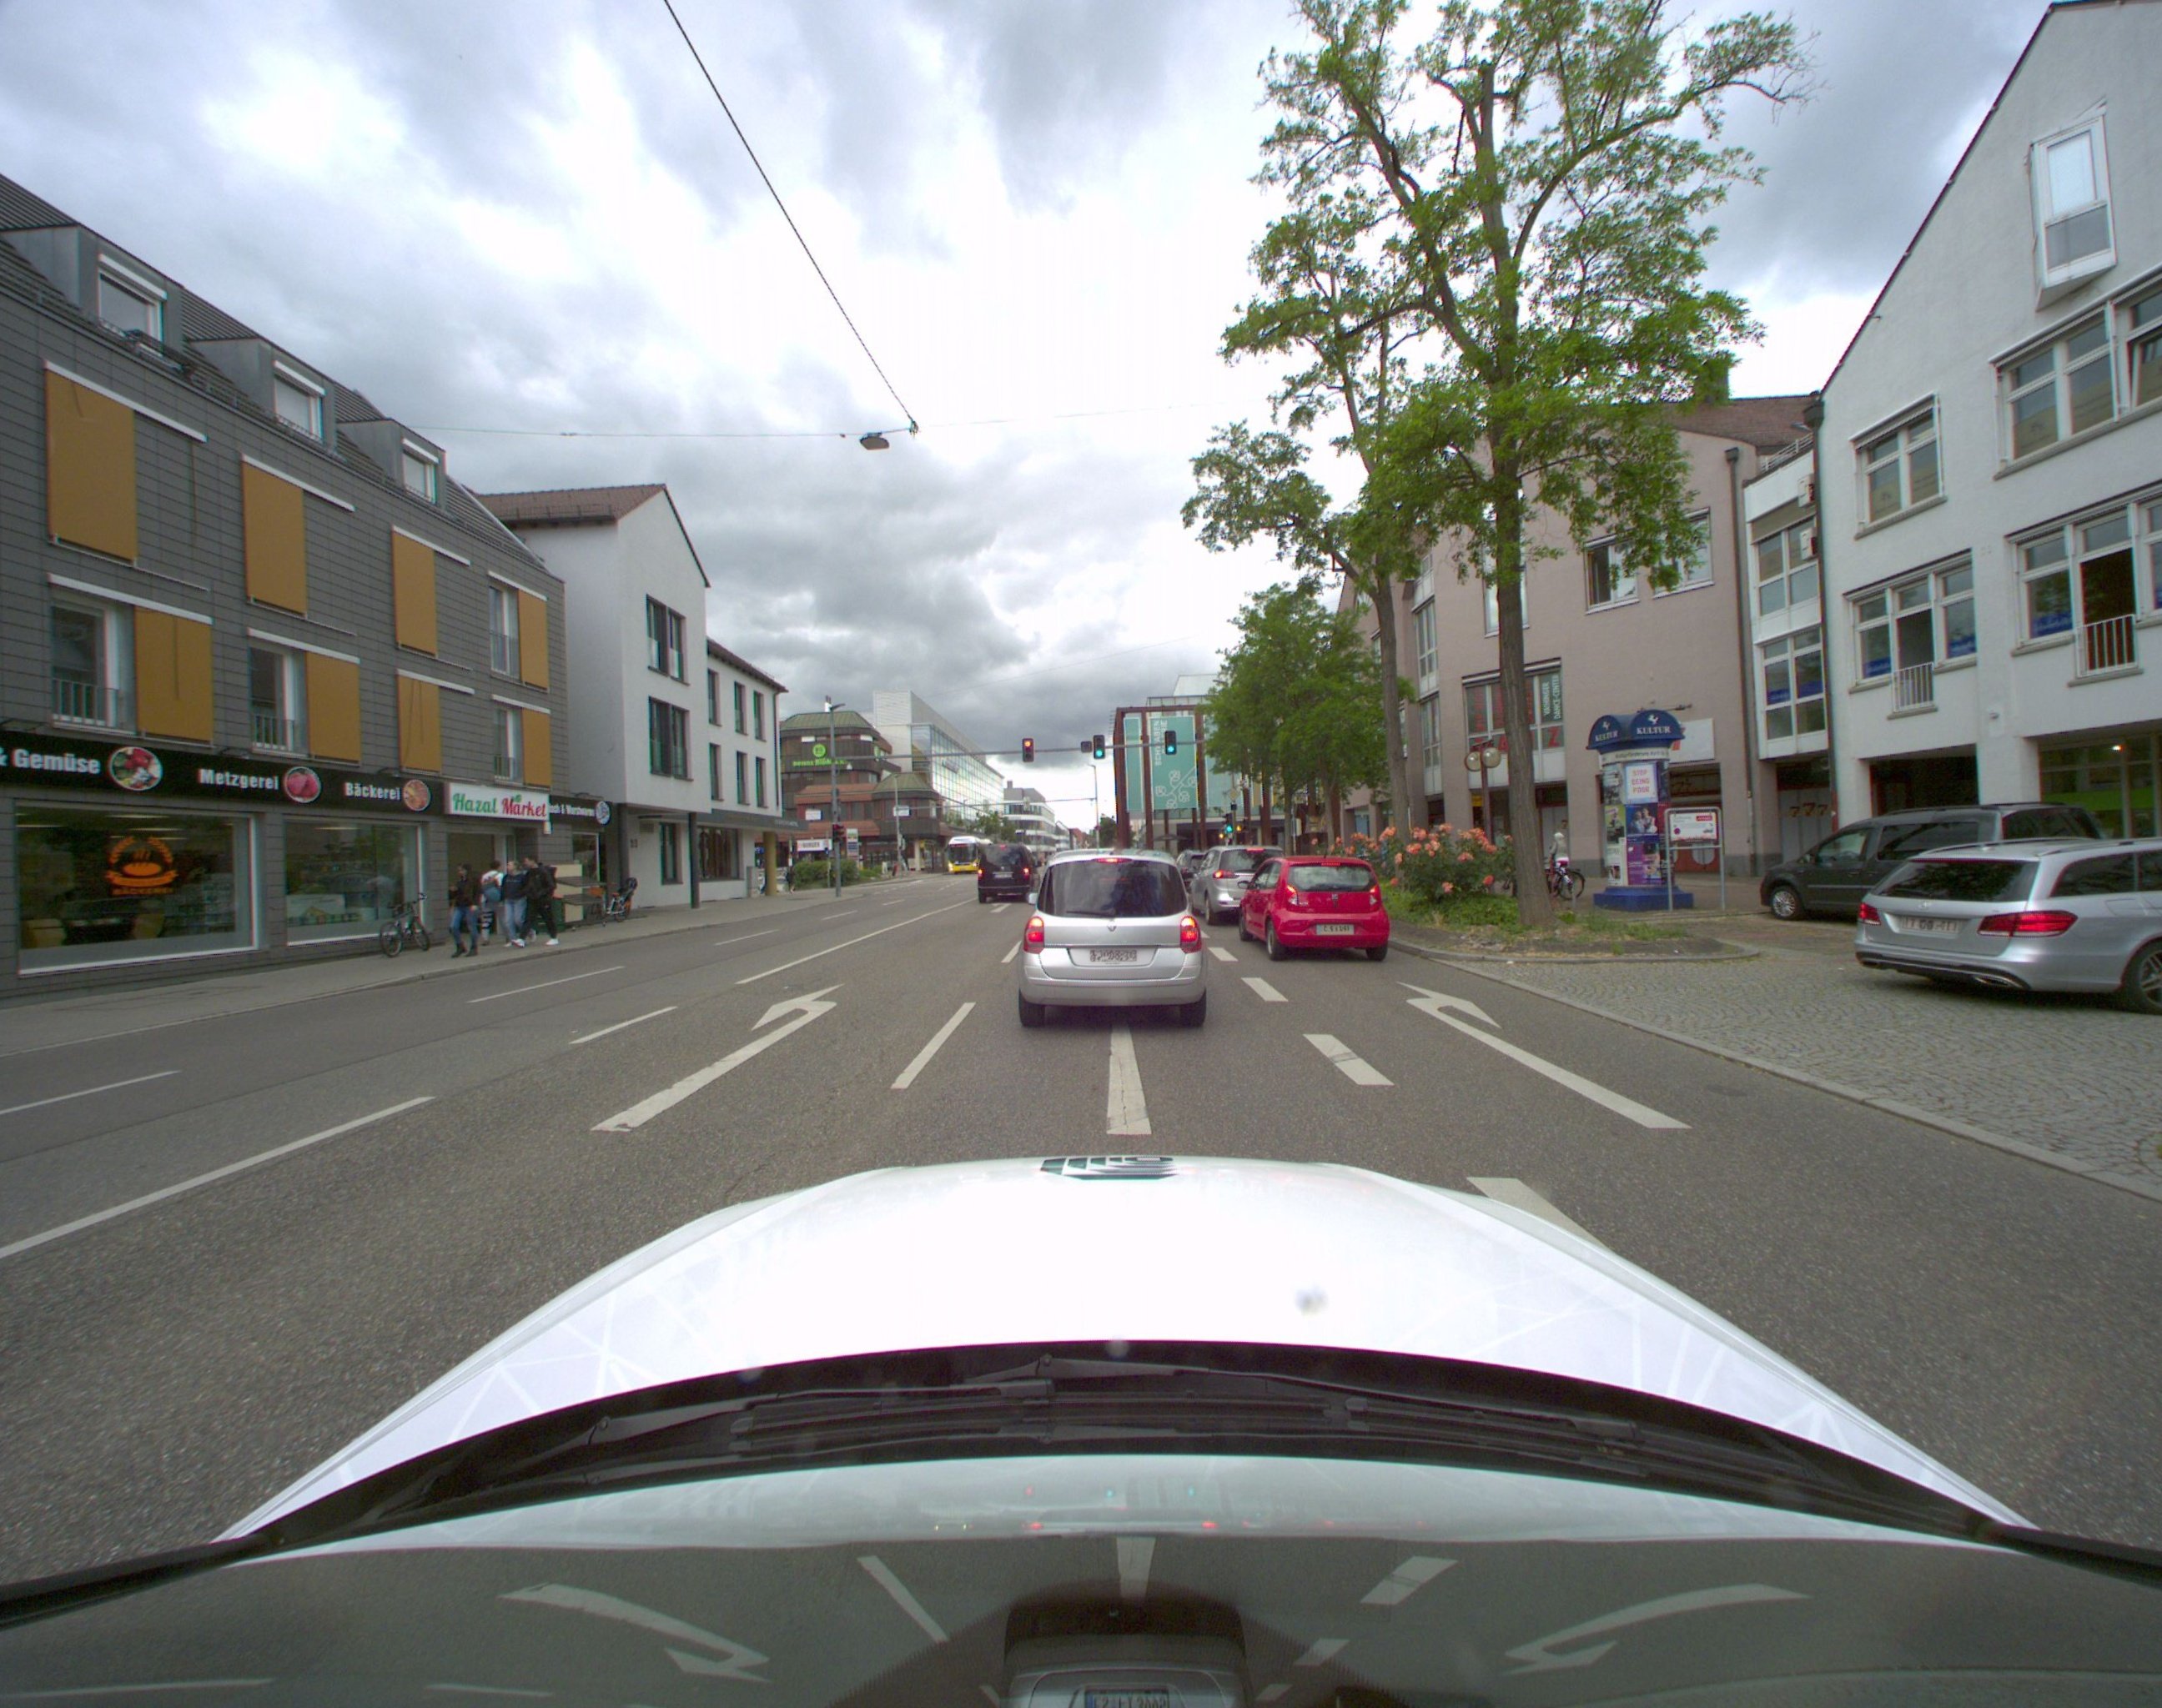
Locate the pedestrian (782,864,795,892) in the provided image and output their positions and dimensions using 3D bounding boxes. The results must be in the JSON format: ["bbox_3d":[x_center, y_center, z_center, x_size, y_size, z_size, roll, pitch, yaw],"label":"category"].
[{"bbox_3d":[-17.795,1.450,49.543,0.705,1.658,0.934,-2,0,-20],"label":"pedestrian"}]

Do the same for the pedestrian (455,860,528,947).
[{"bbox_3d":[-12.151,0.996,16.824,0.751,1.705,0.981,1,0,1],"label":"pedestrian"}]

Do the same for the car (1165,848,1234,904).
[{"bbox_3d":[3.607,0.623,25.289,1.581,1.595,3.868,0,0,0],"label":"car"}]

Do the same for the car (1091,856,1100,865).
[{"bbox_3d":[3.363,1.418,190.081,1.987,1.949,4.951,-2,0,1],"label":"car"}]

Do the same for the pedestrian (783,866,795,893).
[{"bbox_3d":[-18.536,1.624,51.651,0.664,1.649,0.788,-2,0,-20],"label":"pedestrian"}]

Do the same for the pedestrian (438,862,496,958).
[{"bbox_3d":[-10.941,0.976,14.524,0.654,1.650,0.555,-2,0,-22],"label":"pedestrian"}]

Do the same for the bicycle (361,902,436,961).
[{"bbox_3d":[-12.657,1.412,15.146,0.325,0.954,1.478,-2,0,-9],"label":"bicycle"}]

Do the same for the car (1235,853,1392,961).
[{"bbox_3d":[3.434,0.717,12.611,1.581,1.443,3.349,0,0,2],"label":"car"}]

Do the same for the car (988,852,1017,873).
[{"bbox_3d":[-6.808,0.737,70.768,1.987,1.706,4.065,-2,0,0],"label":"car"}]

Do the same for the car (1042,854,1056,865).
[{"bbox_3d":[-4.873,0.852,123.799,1.793,1.540,4.068,-2,0,3],"label":"car"}]

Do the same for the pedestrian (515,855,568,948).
[{"bbox_3d":[-10.665,0.916,16.112,0.567,1.775,0.646,-2,0,-3],"label":"pedestrian"}]

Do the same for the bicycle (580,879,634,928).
[{"bbox_3d":[-12.790,1.309,22.007,0.385,1.186,1.825,-2,0,-1],"label":"bicycle"}]

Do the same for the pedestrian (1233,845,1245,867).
[{"bbox_3d":[11.707,0.159,60.285,0.652,1.650,0.557,-2,0,-13],"label":"pedestrian"}]

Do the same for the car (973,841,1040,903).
[{"bbox_3d":[-2.378,0.541,27.151,1.738,1.855,4.634,-1,0,1],"label":"car"}]

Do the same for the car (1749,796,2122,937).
[{"bbox_3d":[13.153,0.157,12.962,1.633,1.831,3.963,-3,0,-3],"label":"car"}]

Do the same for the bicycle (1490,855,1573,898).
[{"bbox_3d":[11.198,0.566,20.286,1.760,0.997,0.447,-2,0,5],"label":"bicycle"}]

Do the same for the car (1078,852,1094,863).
[{"bbox_3d":[0.832,0.542,124.282,1.907,1.677,4.249,-2,0,6],"label":"car"}]

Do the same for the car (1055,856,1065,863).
[{"bbox_3d":[-4.363,1.127,168.167,1.793,1.540,4.068,-2,0,3],"label":"car"}]

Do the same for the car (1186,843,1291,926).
[{"bbox_3d":[3.369,0.590,18.034,1.581,1.634,3.916,0,0,0],"label":"car"}]

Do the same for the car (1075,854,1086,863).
[{"bbox_3d":[-0.108,0.847,157.713,1.793,1.540,4.068,-2,0,3],"label":"car"}]

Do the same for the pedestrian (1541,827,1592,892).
[{"bbox_3d":[13.189,0.147,22.150,0.786,1.659,0.819,-4,0,1],"label":"pedestrian"}]

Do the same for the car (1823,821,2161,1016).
[{"bbox_3d":[10.182,0.494,7.894,4.343,1.448,1.820,-4,1,-1],"label":"car"}]

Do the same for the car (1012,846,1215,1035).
[{"bbox_3d":[0.313,0.705,8.351,1.634,1.527,3.395,-1,0,1],"label":"car"}]

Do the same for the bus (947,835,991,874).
[{"bbox_3d":[-10.190,0.020,74.806,2.678,3.261,8.653,-2,0,1],"label":"bus"}]

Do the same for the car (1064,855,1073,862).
[{"bbox_3d":[-2.958,1.110,198.045,1.793,1.540,4.068,-2,0,3],"label":"car"}]

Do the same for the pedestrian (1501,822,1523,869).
[{"bbox_3d":[15.816,-0.312,29.863,0.630,1.677,0.592,-2,0,30],"label":"pedestrian"}]

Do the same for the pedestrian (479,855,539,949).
[{"bbox_3d":[-11.319,0.930,16.134,0.679,1.790,0.649,-2,0,0],"label":"pedestrian"}]

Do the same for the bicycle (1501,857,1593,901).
[{"bbox_3d":[11.281,0.598,19.729,1.892,0.997,0.468,-2,0,5],"label":"bicycle"}]
